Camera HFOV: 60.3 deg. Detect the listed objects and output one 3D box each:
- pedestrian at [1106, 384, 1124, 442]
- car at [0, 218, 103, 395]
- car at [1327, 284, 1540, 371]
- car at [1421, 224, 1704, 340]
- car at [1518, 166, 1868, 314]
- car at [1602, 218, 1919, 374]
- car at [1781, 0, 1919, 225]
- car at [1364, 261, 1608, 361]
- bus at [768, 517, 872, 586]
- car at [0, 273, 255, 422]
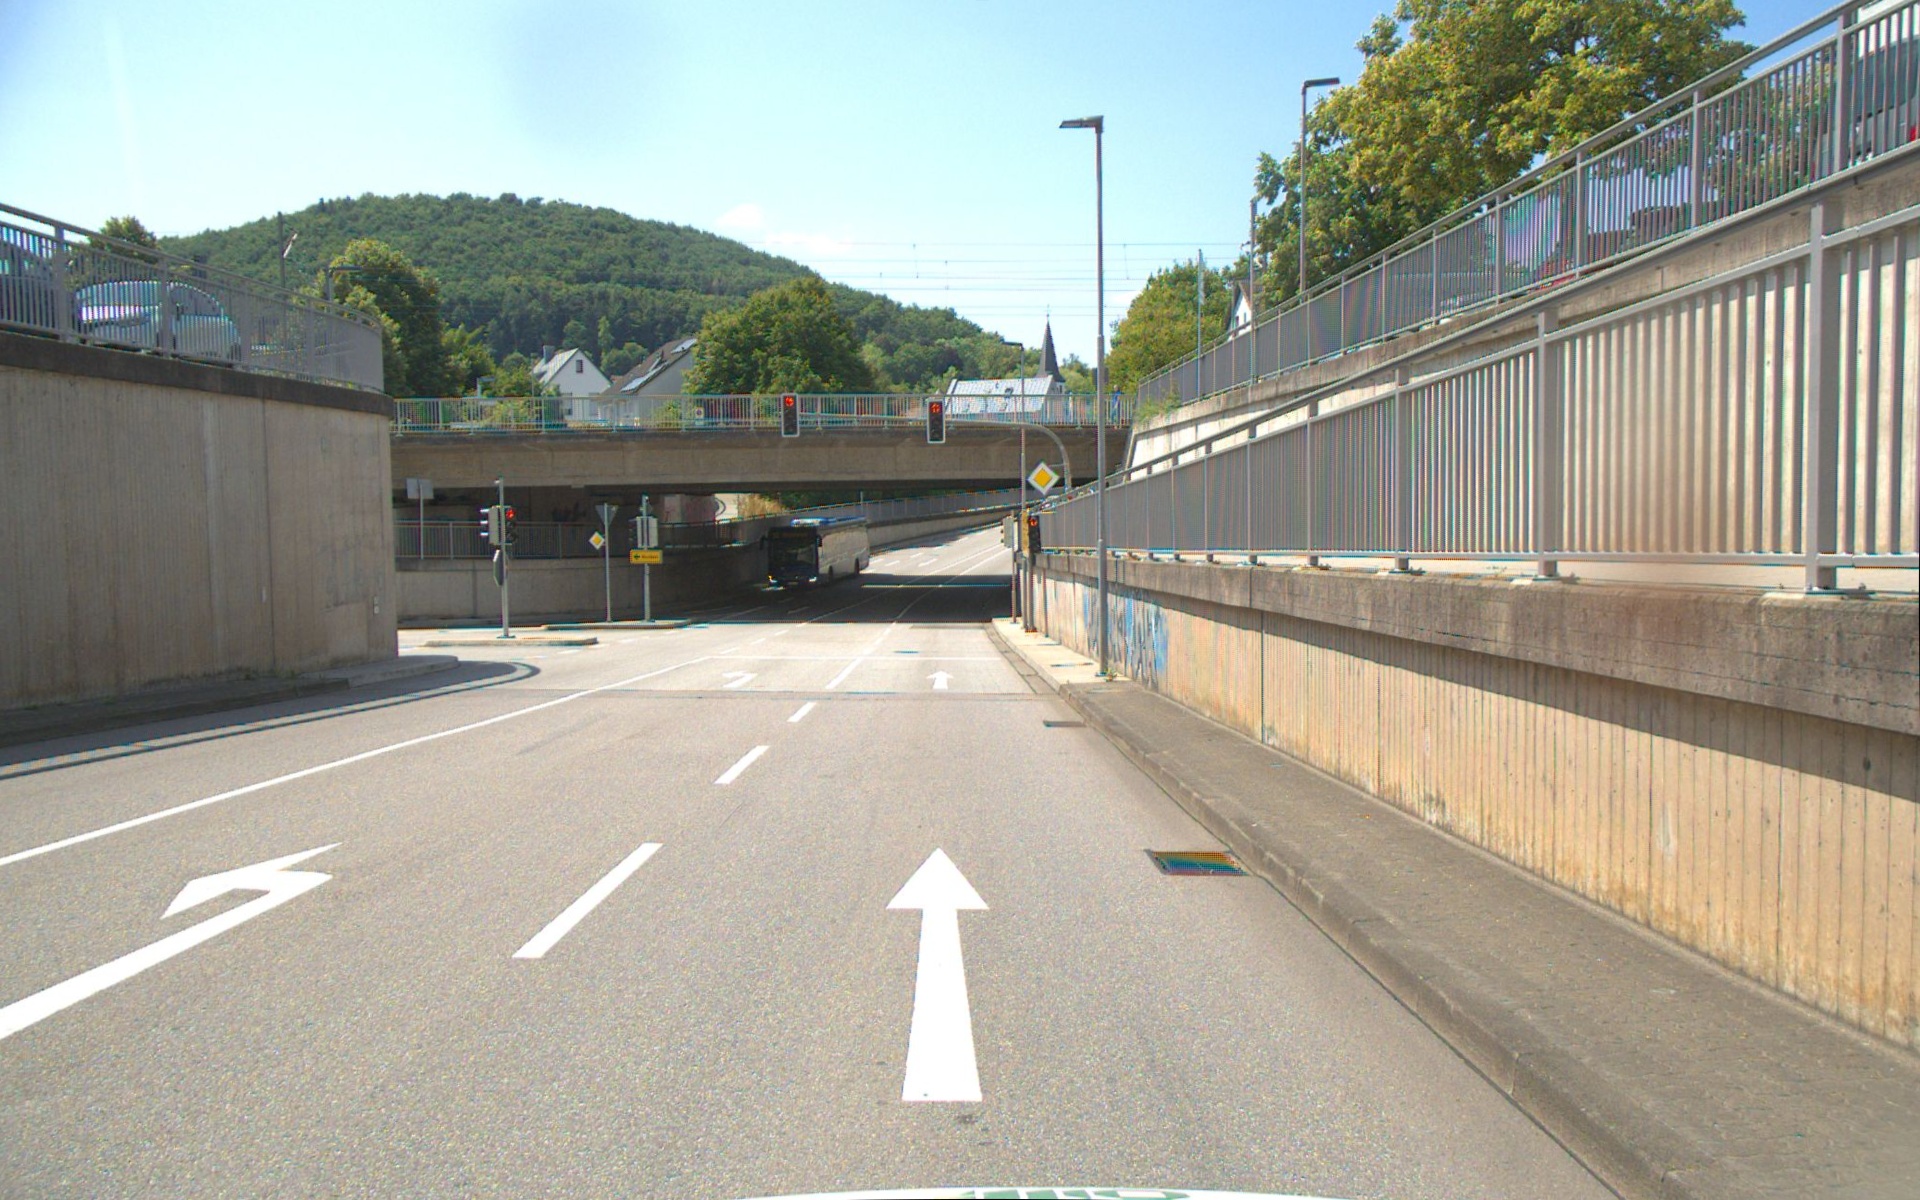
[{"bbox_3d":[5.796,-6.994,61.870,0.529,2.117,0.534,-1,1,-8],"label":"pedestrian"},{"bbox_3d":[-11.301,-3.272,18.081,1.786,1.735,4.221,0,3,-3],"label":"car"},{"bbox_3d":[9.644,-5.561,33.900,3.904,1.512,1.770,0,0,2],"label":"car"},{"bbox_3d":[9.544,-5.046,26.409,3.904,1.512,1.770,0,0,2],"label":"car"},{"bbox_3d":[9.690,-4.762,22.085,3.904,1.594,1.770,0,0,2],"label":"car"},{"bbox_3d":[9.803,-3.517,19.381,3.904,1.512,1.770,0,0,2],"label":"car"},{"bbox_3d":[9.762,-4.469,14.847,3.904,1.801,1.770,0,0,2],"label":"car"},{"bbox_3d":[9.486,-5.217,30.034,3.904,1.512,1.770,0,0,2],"label":"car"},{"bbox_3d":[-6.880,-2.558,83.758,2.526,3.227,12.391,0,3,8],"label":"bus"},{"bbox_3d":[-11.776,-3.511,23.565,1.864,1.696,3.999,0,3,-3],"label":"car"}]
